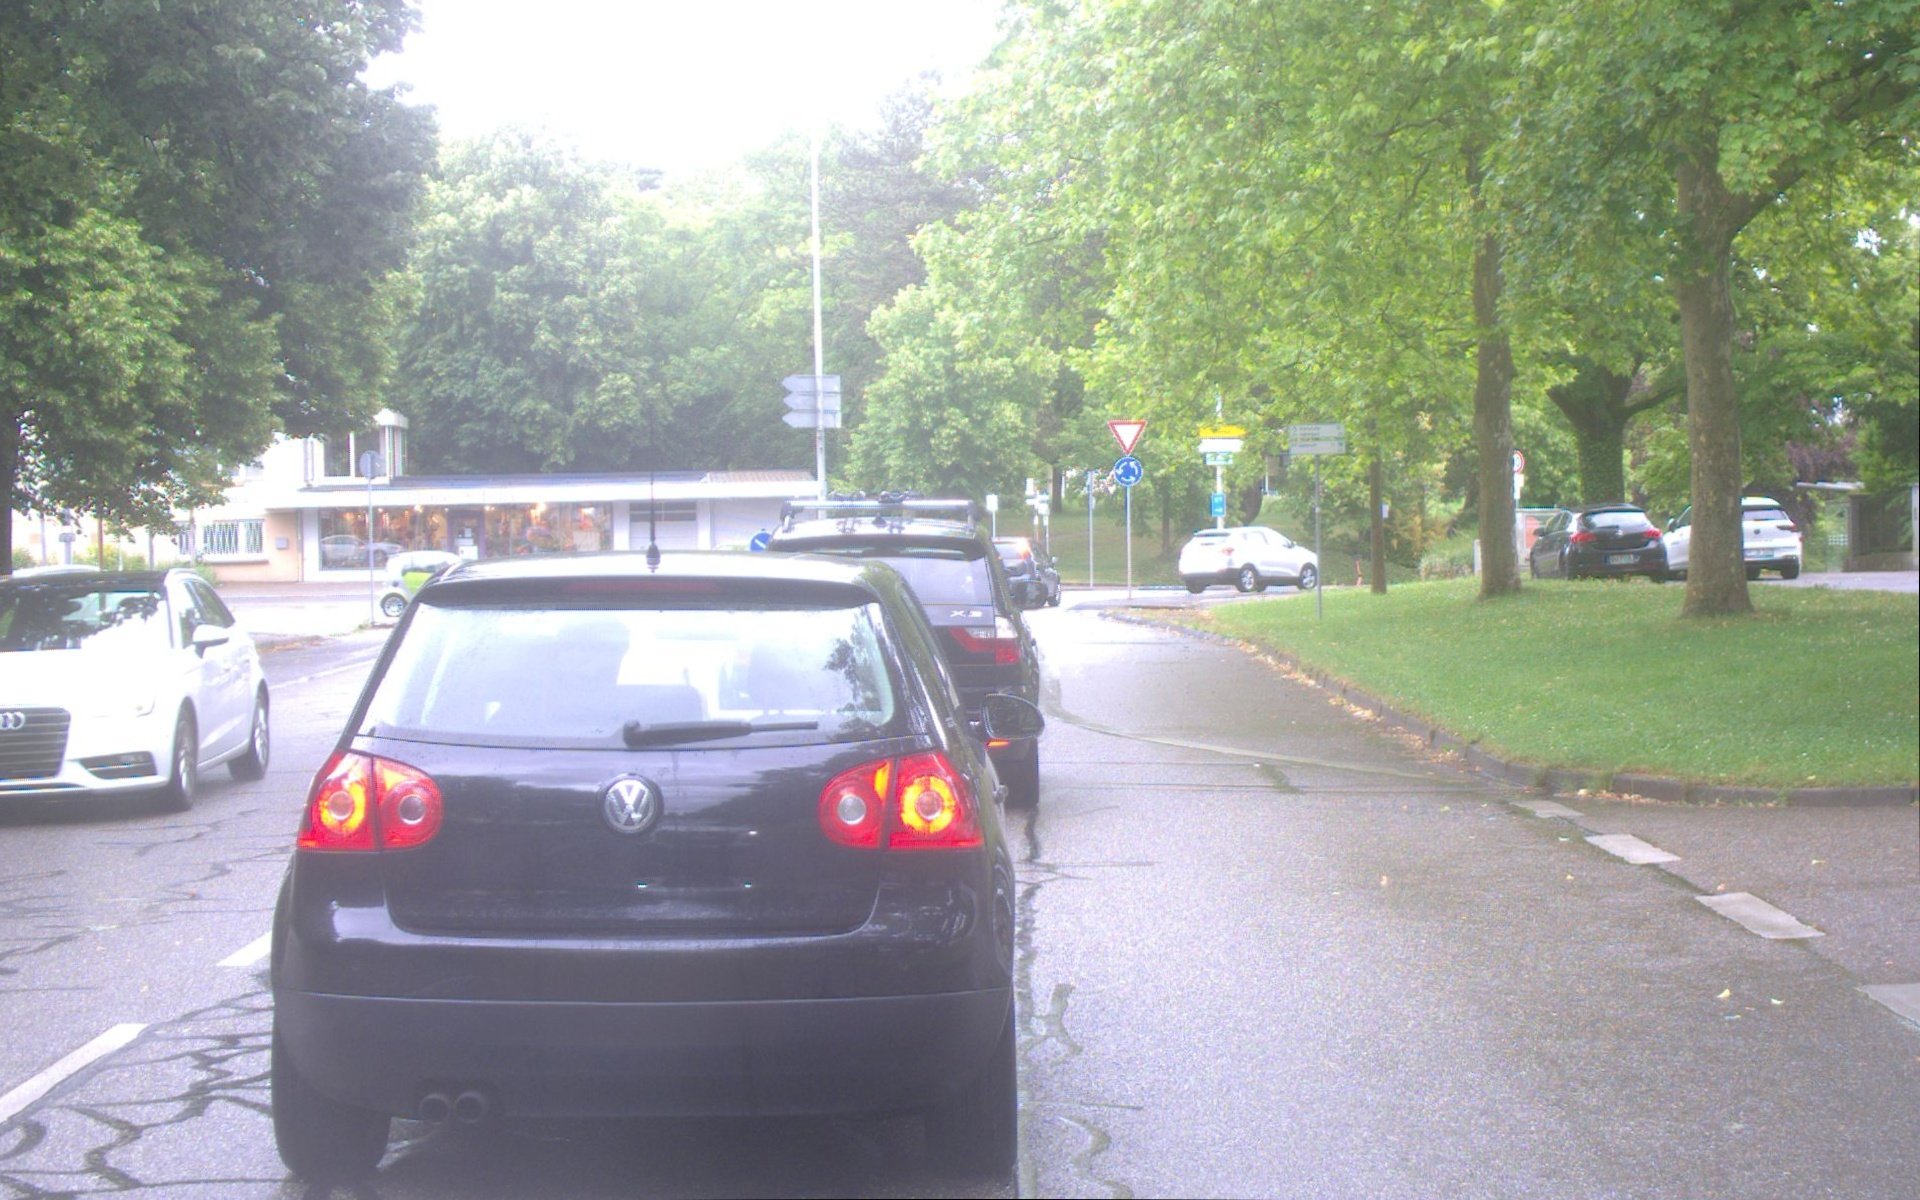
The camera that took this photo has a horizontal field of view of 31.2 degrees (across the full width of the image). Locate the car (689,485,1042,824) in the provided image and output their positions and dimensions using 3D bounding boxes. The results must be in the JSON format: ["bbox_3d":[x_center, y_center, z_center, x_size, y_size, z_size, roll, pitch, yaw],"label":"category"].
[{"bbox_3d":[-0.496,0.258,20.370,1.855,1.778,4.000,-1,1,0],"label":"car"}]

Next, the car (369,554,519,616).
[{"bbox_3d":[-11.775,-0.350,78.523,3.120,1.305,1.540,-2,1,1],"label":"car"}]

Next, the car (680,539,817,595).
[{"bbox_3d":[-6.169,-0.961,100.051,3.668,1.508,1.708,-1,1,35],"label":"car"}]

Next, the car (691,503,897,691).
[{"bbox_3d":[-1.633,-0.046,35.091,1.855,1.778,4.000,-1,0,0],"label":"car"}]

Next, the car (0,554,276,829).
[{"bbox_3d":[-5.308,0.489,20.946,1.608,1.422,4.009,-2,2,-3],"label":"car"}]

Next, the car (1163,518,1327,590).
[{"bbox_3d":[7.372,-1.191,88.694,3.989,1.700,1.999,-3,1,-43],"label":"car"}]

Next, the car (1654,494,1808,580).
[{"bbox_3d":[13.784,-1.135,61.679,1.803,1.401,4.000,-3,1,0],"label":"car"}]

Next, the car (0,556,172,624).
[{"bbox_3d":[-20.397,-0.216,78.632,4.494,1.414,1.848,-2,1,-15],"label":"car"}]

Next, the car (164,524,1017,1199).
[{"bbox_3d":[-0.774,0.584,9.149,1.799,1.510,3.754,0,0,0],"label":"car"}]

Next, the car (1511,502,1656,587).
[{"bbox_3d":[11.134,-1.016,61.588,1.803,1.381,4.000,-3,1,0],"label":"car"}]

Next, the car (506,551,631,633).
[{"bbox_3d":[-7.319,-0.154,63.954,1.796,1.388,3.980,-3,1,-13],"label":"car"}]
